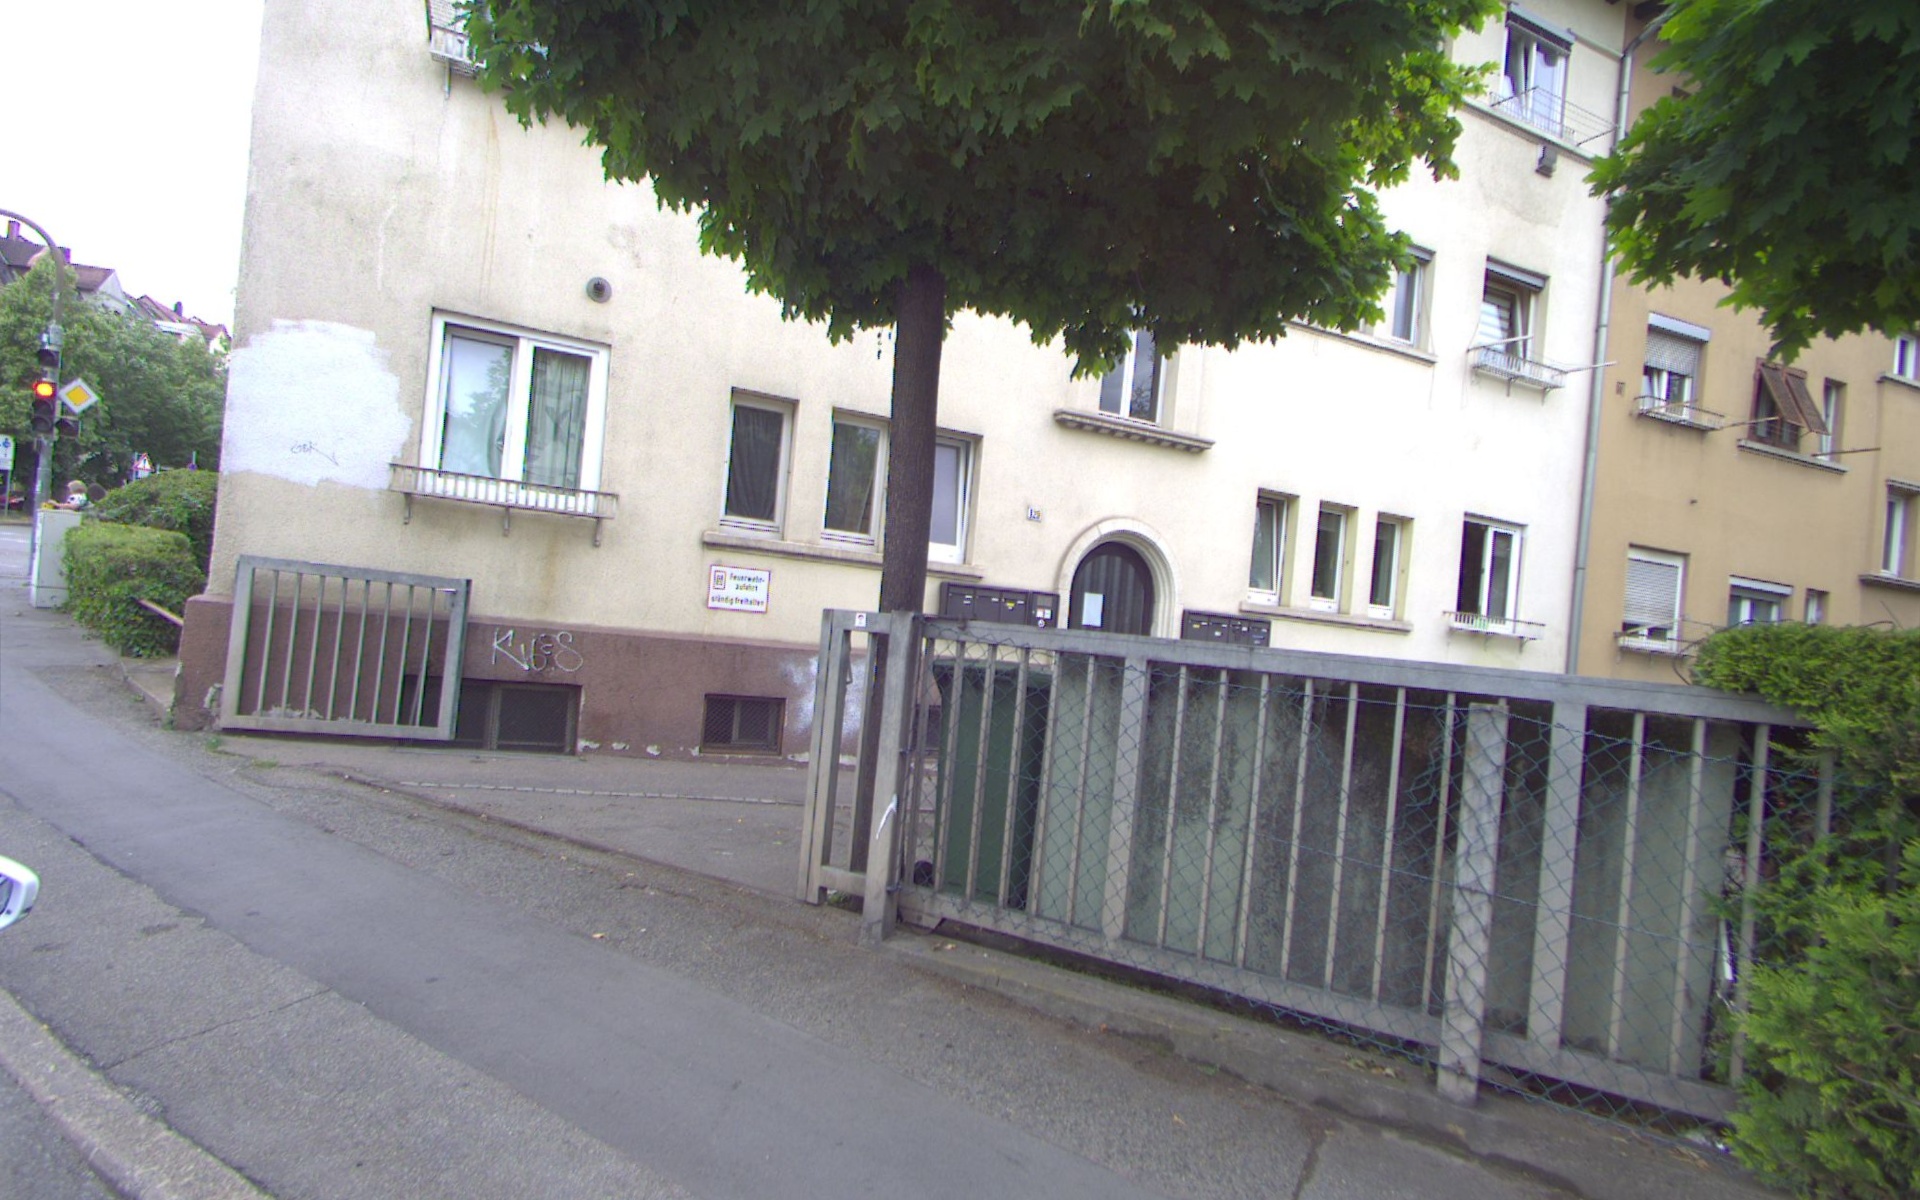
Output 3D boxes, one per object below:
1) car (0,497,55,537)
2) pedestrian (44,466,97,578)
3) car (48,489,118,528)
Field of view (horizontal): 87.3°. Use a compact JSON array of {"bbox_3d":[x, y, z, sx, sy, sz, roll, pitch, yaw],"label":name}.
[{"bbox_3d":[-60.985,-5.410,64.906,1.970,2.036,3.991,8,-3,-15],"label":"car"},{"bbox_3d":[-15.353,-1.334,17.363,0.462,1.857,0.320,9,-2,-44],"label":"pedestrian"},{"bbox_3d":[-62.463,-6.485,71.757,1.970,2.036,3.991,8,-3,-15],"label":"car"}]
